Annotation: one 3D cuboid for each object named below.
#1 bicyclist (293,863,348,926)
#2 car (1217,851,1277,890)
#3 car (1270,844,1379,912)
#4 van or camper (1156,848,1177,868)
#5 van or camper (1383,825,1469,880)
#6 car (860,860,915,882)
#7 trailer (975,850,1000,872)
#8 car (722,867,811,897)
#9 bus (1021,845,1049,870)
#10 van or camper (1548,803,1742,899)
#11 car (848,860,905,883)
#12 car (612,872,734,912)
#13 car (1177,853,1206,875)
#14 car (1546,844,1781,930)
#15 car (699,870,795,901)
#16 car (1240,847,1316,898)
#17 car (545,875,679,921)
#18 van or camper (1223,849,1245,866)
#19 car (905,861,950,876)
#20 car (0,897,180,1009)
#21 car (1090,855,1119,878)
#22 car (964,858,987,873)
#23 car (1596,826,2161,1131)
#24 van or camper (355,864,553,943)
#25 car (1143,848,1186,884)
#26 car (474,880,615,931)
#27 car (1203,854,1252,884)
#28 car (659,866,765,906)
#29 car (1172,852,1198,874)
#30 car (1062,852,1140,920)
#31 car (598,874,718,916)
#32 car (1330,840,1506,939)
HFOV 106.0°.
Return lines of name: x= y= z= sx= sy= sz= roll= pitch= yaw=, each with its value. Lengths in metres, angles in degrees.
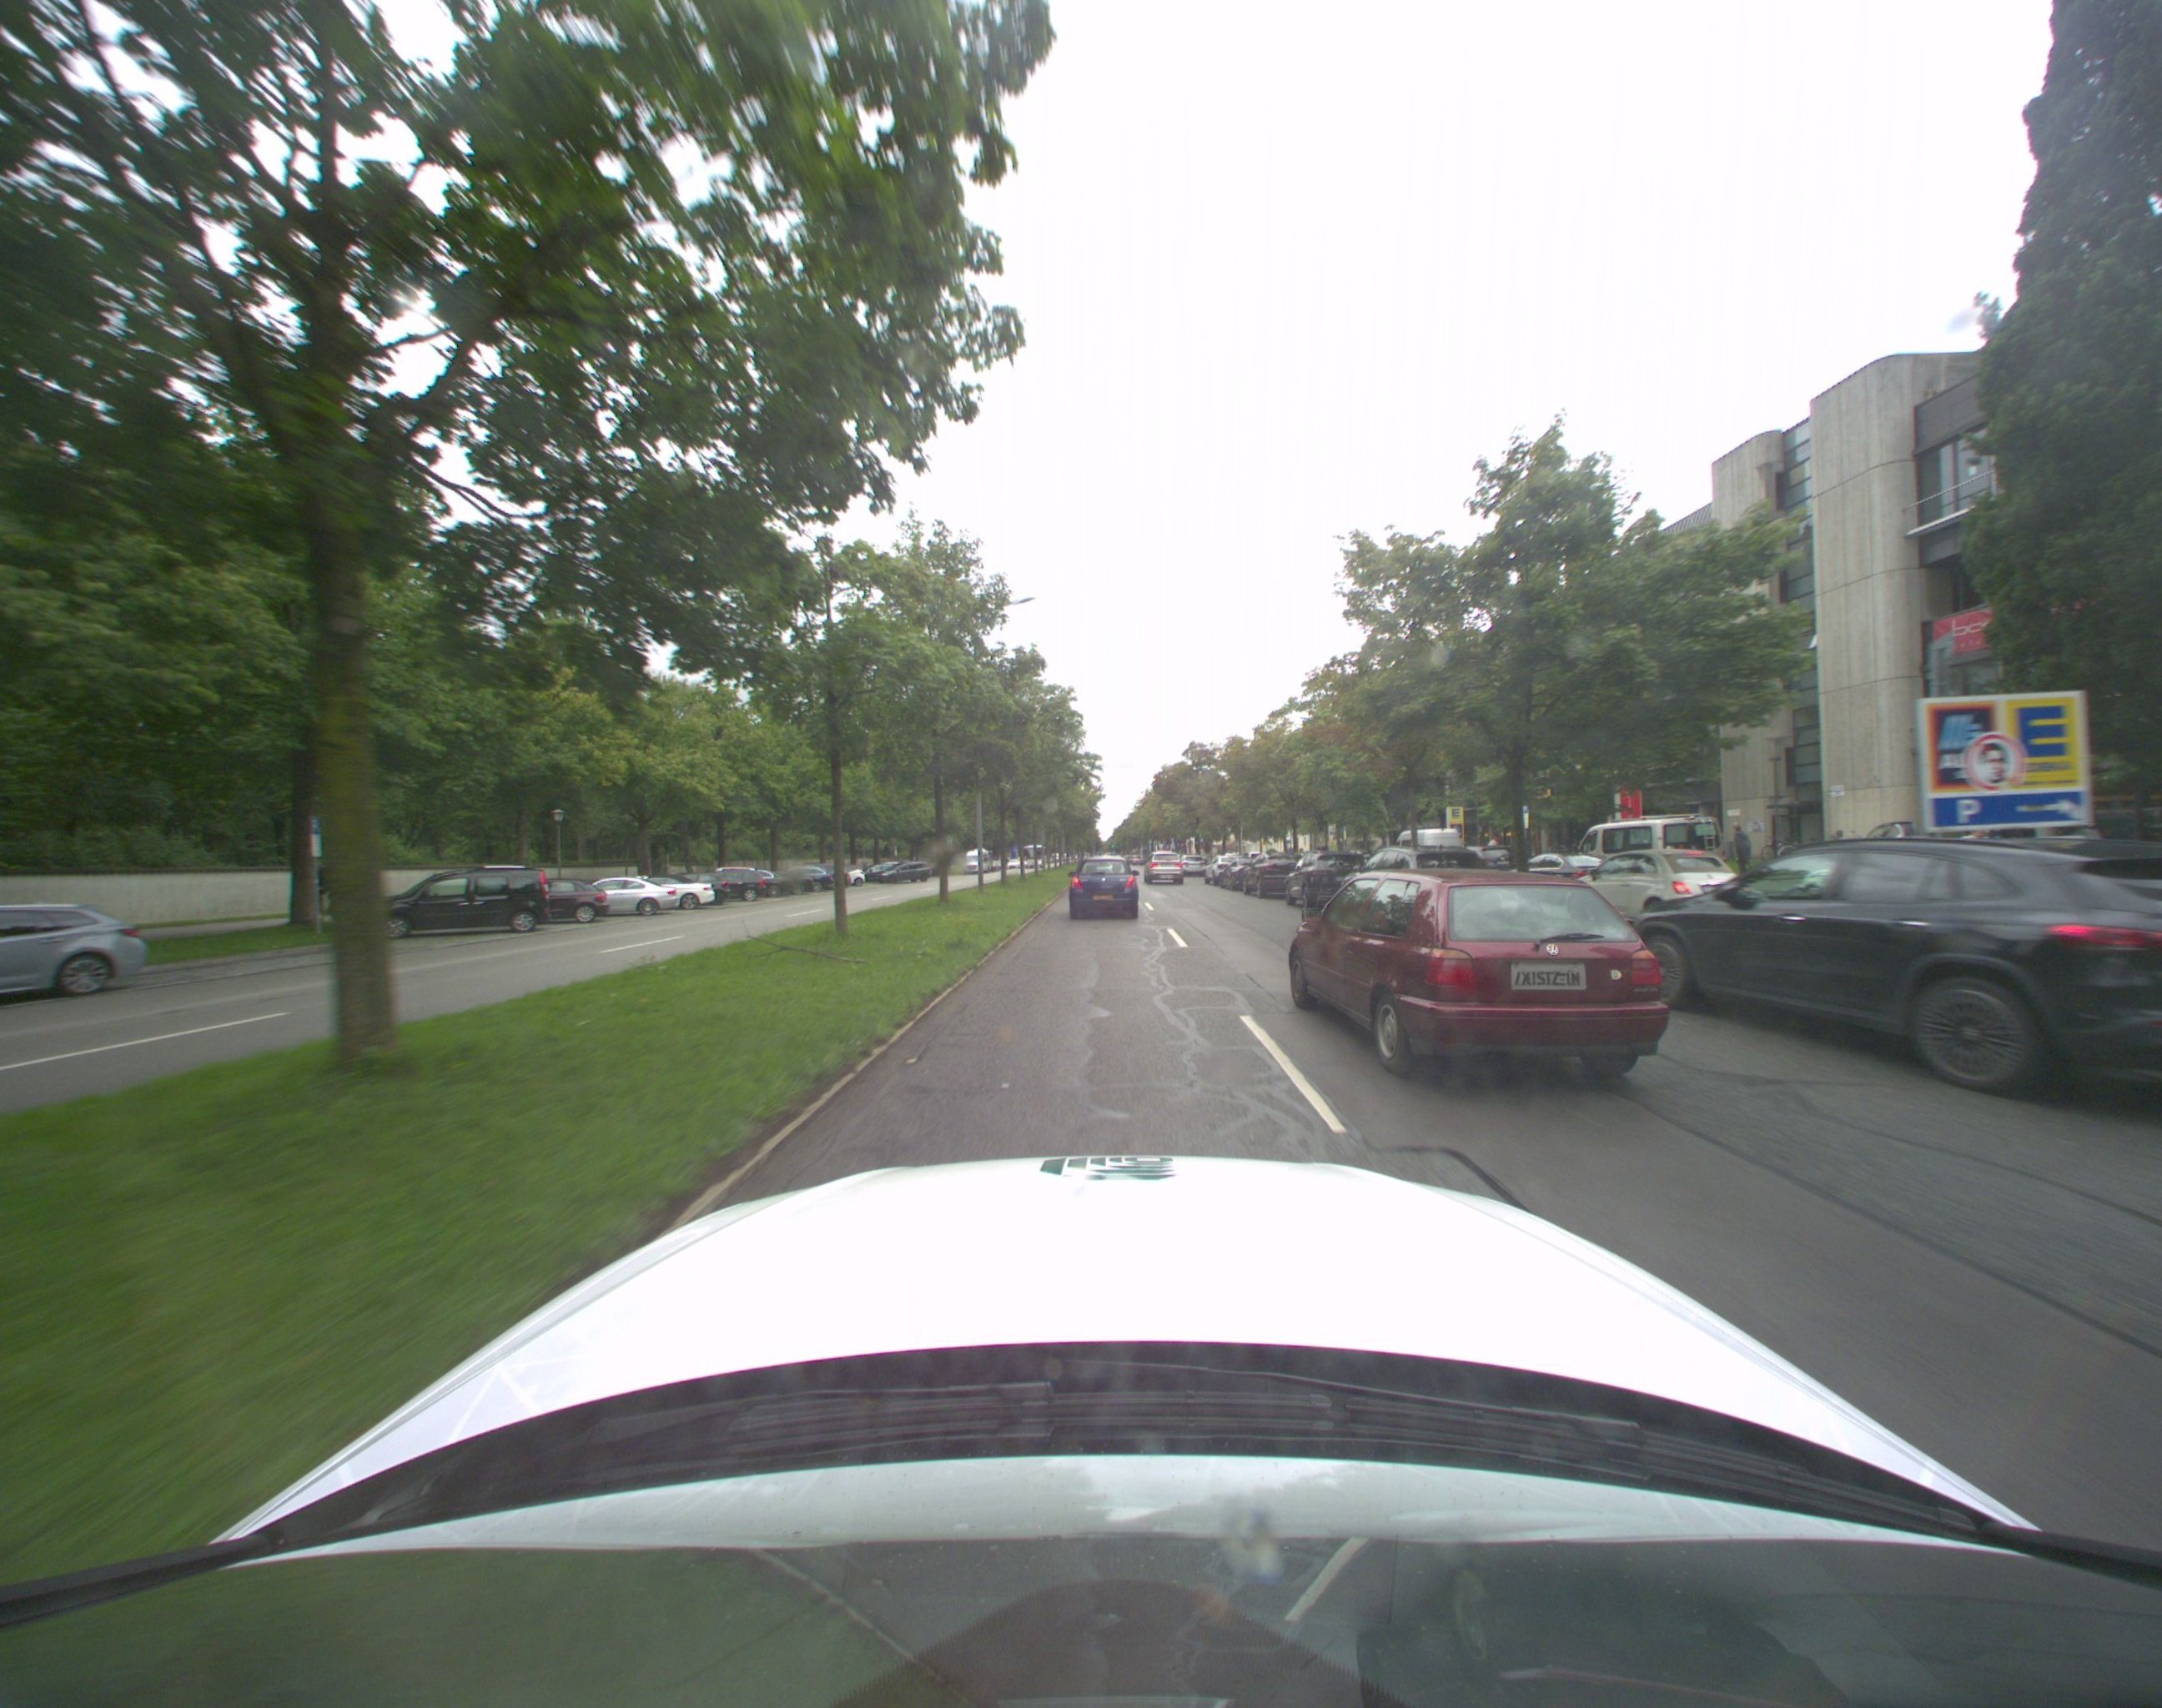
bicyclist: x=-22.168 y=1.164 z=23.758 sx=0.702 sy=1.747 sz=0.923 roll=-2 pitch=0 yaw=2
car: x=7.103 y=0.672 z=35.182 sx=1.758 sy=1.546 sz=4.425 roll=-1 pitch=0 yaw=1
car: x=6.675 y=0.609 z=22.810 sx=1.716 sy=1.651 sz=4.389 roll=-2 pitch=0 yaw=0
van or camper: x=8.987 y=0.413 z=86.185 sx=1.937 sy=1.975 sz=4.309 roll=-2 pitch=0 yaw=3
van or camper: x=17.630 y=-0.070 z=41.974 sx=2.016 sy=2.558 sz=5.959 roll=-2 pitch=0 yaw=2
car: x=-16.434 y=1.404 z=69.277 sx=4.122 sy=1.695 sz=1.900 roll=-2 pitch=0 yaw=-32
trailer: x=-11.411 y=0.853 z=99.930 sx=2.098 sy=2.540 sz=5.579 roll=-2 pitch=0 yaw=2
car: x=-17.064 y=1.493 z=44.176 sx=4.213 sy=1.410 sz=1.900 roll=-2 pitch=0 yaw=-32
bus: x=-6.723 y=0.469 z=120.784 sx=2.727 sy=3.377 sz=12.020 roll=-3 pitch=0 yaw=3
van or camper: x=17.167 y=-0.089 z=25.302 sx=1.986 sy=2.558 sz=5.959 roll=-2 pitch=0 yaw=2
car: x=-16.519 y=1.411 z=65.811 sx=4.122 sy=1.695 sz=1.900 roll=-2 pitch=0 yaw=-32
car: x=-17.241 y=1.560 z=34.511 sx=4.263 sy=1.422 sz=1.897 roll=-2 pitch=0 yaw=-40
car: x=7.884 y=0.697 z=58.269 sx=1.677 sy=1.525 sz=4.458 roll=0 pitch=0 yaw=3
car: x=11.160 y=0.573 z=16.001 sx=1.758 sy=1.488 sz=3.998 roll=0 pitch=0 yaw=-1
car: x=-16.886 y=1.556 z=41.216 sx=4.217 sy=1.322 sz=1.900 roll=-2 pitch=0 yaw=-32
car: x=7.003 y=0.621 z=29.446 sx=1.758 sy=1.651 sz=4.425 roll=-1 pitch=0 yaw=1
car: x=-16.729 y=1.527 z=29.115 sx=4.015 sy=1.354 sz=1.831 roll=-2 pitch=0 yaw=-33
van or camper: x=18.057 y=0.400 z=96.012 sx=1.937 sy=1.975 sz=4.309 roll=-2 pitch=0 yaw=3
car: x=-15.525 y=1.444 z=82.187 sx=4.122 sy=1.474 sz=1.688 roll=-1 pitch=-1 yaw=-32
car: x=-15.952 y=1.452 z=11.199 sx=1.629 sy=1.439 sz=4.812 roll=0 pitch=0 yaw=3
car: x=1.536 y=0.785 z=54.715 sx=1.844 sy=1.447 sz=4.097 roll=-2 pitch=0 yaw=0
car: x=-11.708 y=1.307 z=90.516 sx=1.907 sy=1.542 sz=4.187 roll=-2 pitch=0 yaw=0
car: x=6.388 y=0.630 z=6.489 sx=1.756 sy=1.589 sz=4.453 roll=-2 pitch=0 yaw=0
van or camper: x=-17.123 y=1.274 z=22.419 sx=4.146 sy=1.854 sz=1.829 roll=-2 pitch=0 yaw=-39
car: x=4.358 y=0.612 z=43.025 sx=1.844 sy=1.743 sz=4.097 roll=-2 pitch=0 yaw=0
car: x=-16.977 y=1.576 z=25.939 sx=3.633 sy=1.354 sz=1.736 roll=-2 pitch=0 yaw=-32
car: x=7.288 y=0.715 z=40.924 sx=1.701 sy=1.454 sz=4.512 roll=0 pitch=0 yaw=0
car: x=-17.086 y=1.431 z=37.740 sx=4.127 sy=1.597 sz=1.897 roll=-2 pitch=0 yaw=-38
car: x=8.108 y=0.669 z=63.845 sx=1.677 sy=1.626 sz=4.309 roll=0 pitch=0 yaw=3
car: x=0.477 y=0.751 z=21.086 sx=1.783 sy=1.555 sz=4.000 roll=-2 pitch=0 yaw=0
car: x=-16.760 y=1.580 z=32.304 sx=4.059 sy=1.381 sz=1.657 roll=-2 pitch=0 yaw=-34
car: x=6.639 y=0.626 z=16.677 sx=1.755 sy=1.701 sz=4.823 roll=-2 pitch=0 yaw=2
